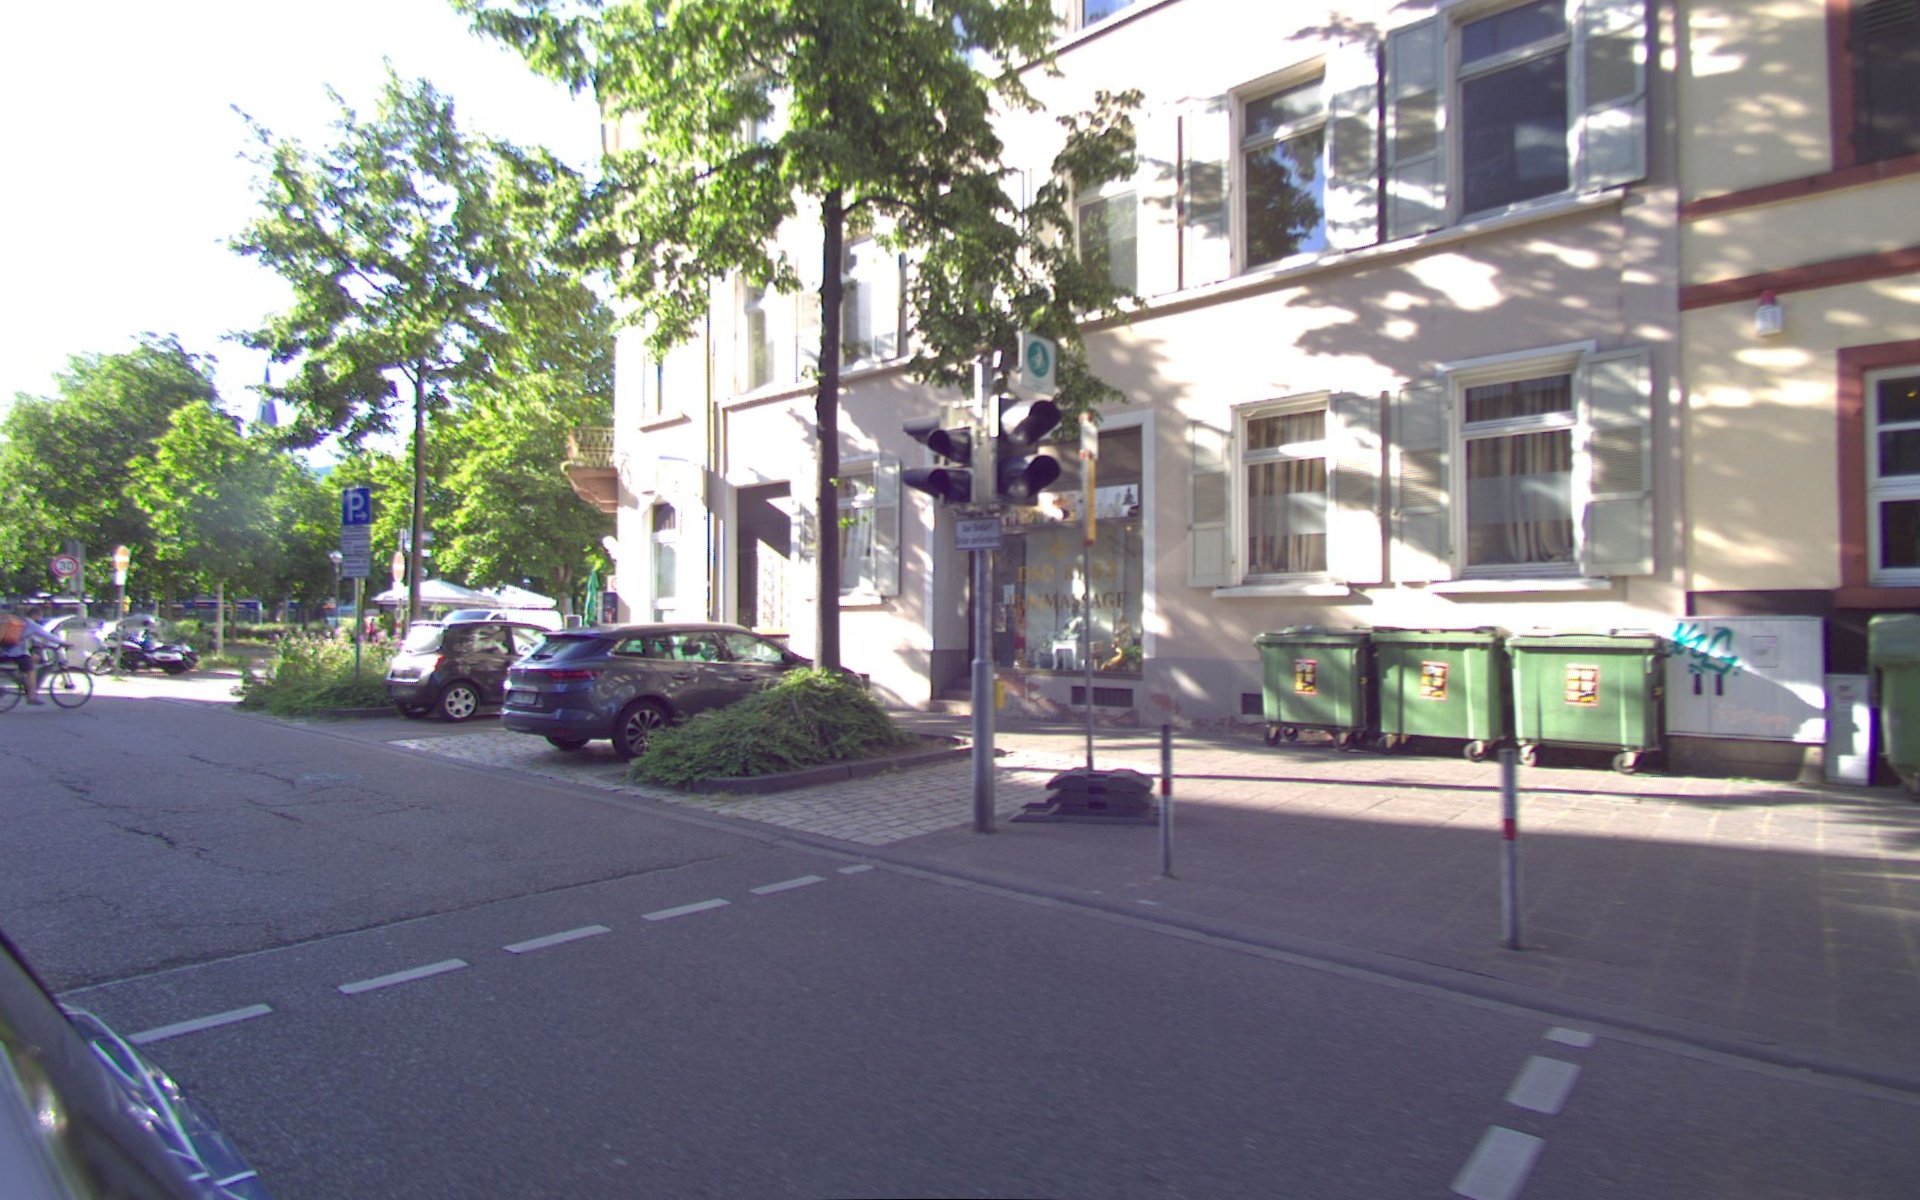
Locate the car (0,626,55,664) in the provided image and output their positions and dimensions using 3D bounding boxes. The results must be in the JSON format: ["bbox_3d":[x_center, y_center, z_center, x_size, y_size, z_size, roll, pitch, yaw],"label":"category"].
[{"bbox_3d":[-44.079,2.020,45.914,2.088,1.657,3.973,1,-1,20],"label":"car"}]

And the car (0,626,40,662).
[{"bbox_3d":[-46.208,2.072,47.546,1.986,1.706,3.971,-1,-2,21],"label":"car"}]

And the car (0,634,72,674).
[{"bbox_3d":[-37.723,2.108,39.674,1.981,1.485,3.981,-1,-2,14],"label":"car"}]

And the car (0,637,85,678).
[{"bbox_3d":[-35.359,2.130,37.595,1.977,1.453,3.988,-1,-2,9],"label":"car"}]

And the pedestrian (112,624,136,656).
[{"bbox_3d":[-33.722,1.607,40.820,0.520,1.267,0.519,0,-3,7],"label":"pedestrian"}]

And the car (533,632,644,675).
[{"bbox_3d":[-13.946,2.017,38.235,1.910,1.528,4.131,-1,-3,15],"label":"car"}]

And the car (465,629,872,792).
[{"bbox_3d":[-3.274,1.138,12.041,1.944,1.556,4.292,-2,-2,42],"label":"car"}]

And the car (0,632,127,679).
[{"bbox_3d":[-33.105,1.973,36.842,1.977,1.574,3.988,-1,-2,9],"label":"car"}]

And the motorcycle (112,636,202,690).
[{"bbox_3d":[-21.782,1.690,27.484,1.724,1.434,0.832,0,-2,-23],"label":"motorcycle"}]

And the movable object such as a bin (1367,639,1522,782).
[{"bbox_3d":[5.029,1.095,10.522,1.248,1.366,0.820,-2,-2,44],"label":"movable object such as a bin"}]

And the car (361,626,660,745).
[{"bbox_3d":[-7.056,1.245,16.202,1.942,1.652,3.947,-2,-2,39],"label":"car"}]

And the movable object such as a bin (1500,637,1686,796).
[{"bbox_3d":[5.999,1.049,9.620,1.346,1.373,0.808,-2,-2,44],"label":"movable object such as a bin"}]

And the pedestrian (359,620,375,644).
[{"bbox_3d":[-31.529,1.683,53.805,0.517,1.267,0.523,-1,-3,22],"label":"pedestrian"}]

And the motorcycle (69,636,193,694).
[{"bbox_3d":[-21.582,1.678,26.404,2.282,1.434,1.004,0,-2,-22],"label":"motorcycle"}]

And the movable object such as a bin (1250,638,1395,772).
[{"bbox_3d":[4.049,1.129,11.334,1.261,1.378,0.899,-2,-2,44],"label":"movable object such as a bin"}]

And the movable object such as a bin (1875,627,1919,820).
[{"bbox_3d":[7.991,0.938,7.765,1.382,1.456,1.121,-2,-2,44],"label":"movable object such as a bin"}]

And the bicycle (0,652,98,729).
[{"bbox_3d":[-15.238,1.447,16.410,0.661,1.167,1.938,-1,-2,10],"label":"bicycle"}]

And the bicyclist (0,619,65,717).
[{"bbox_3d":[-15.243,1.074,16.391,0.661,1.537,0.887,-1,-2,10],"label":"bicyclist"}]

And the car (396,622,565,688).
[{"bbox_3d":[-15.453,1.778,33.030,2.055,1.959,5.303,-1,-3,14],"label":"car"}]

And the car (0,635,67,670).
[{"bbox_3d":[-41.967,2.269,44.250,1.990,1.485,3.962,-1,-2,27],"label":"car"}]
